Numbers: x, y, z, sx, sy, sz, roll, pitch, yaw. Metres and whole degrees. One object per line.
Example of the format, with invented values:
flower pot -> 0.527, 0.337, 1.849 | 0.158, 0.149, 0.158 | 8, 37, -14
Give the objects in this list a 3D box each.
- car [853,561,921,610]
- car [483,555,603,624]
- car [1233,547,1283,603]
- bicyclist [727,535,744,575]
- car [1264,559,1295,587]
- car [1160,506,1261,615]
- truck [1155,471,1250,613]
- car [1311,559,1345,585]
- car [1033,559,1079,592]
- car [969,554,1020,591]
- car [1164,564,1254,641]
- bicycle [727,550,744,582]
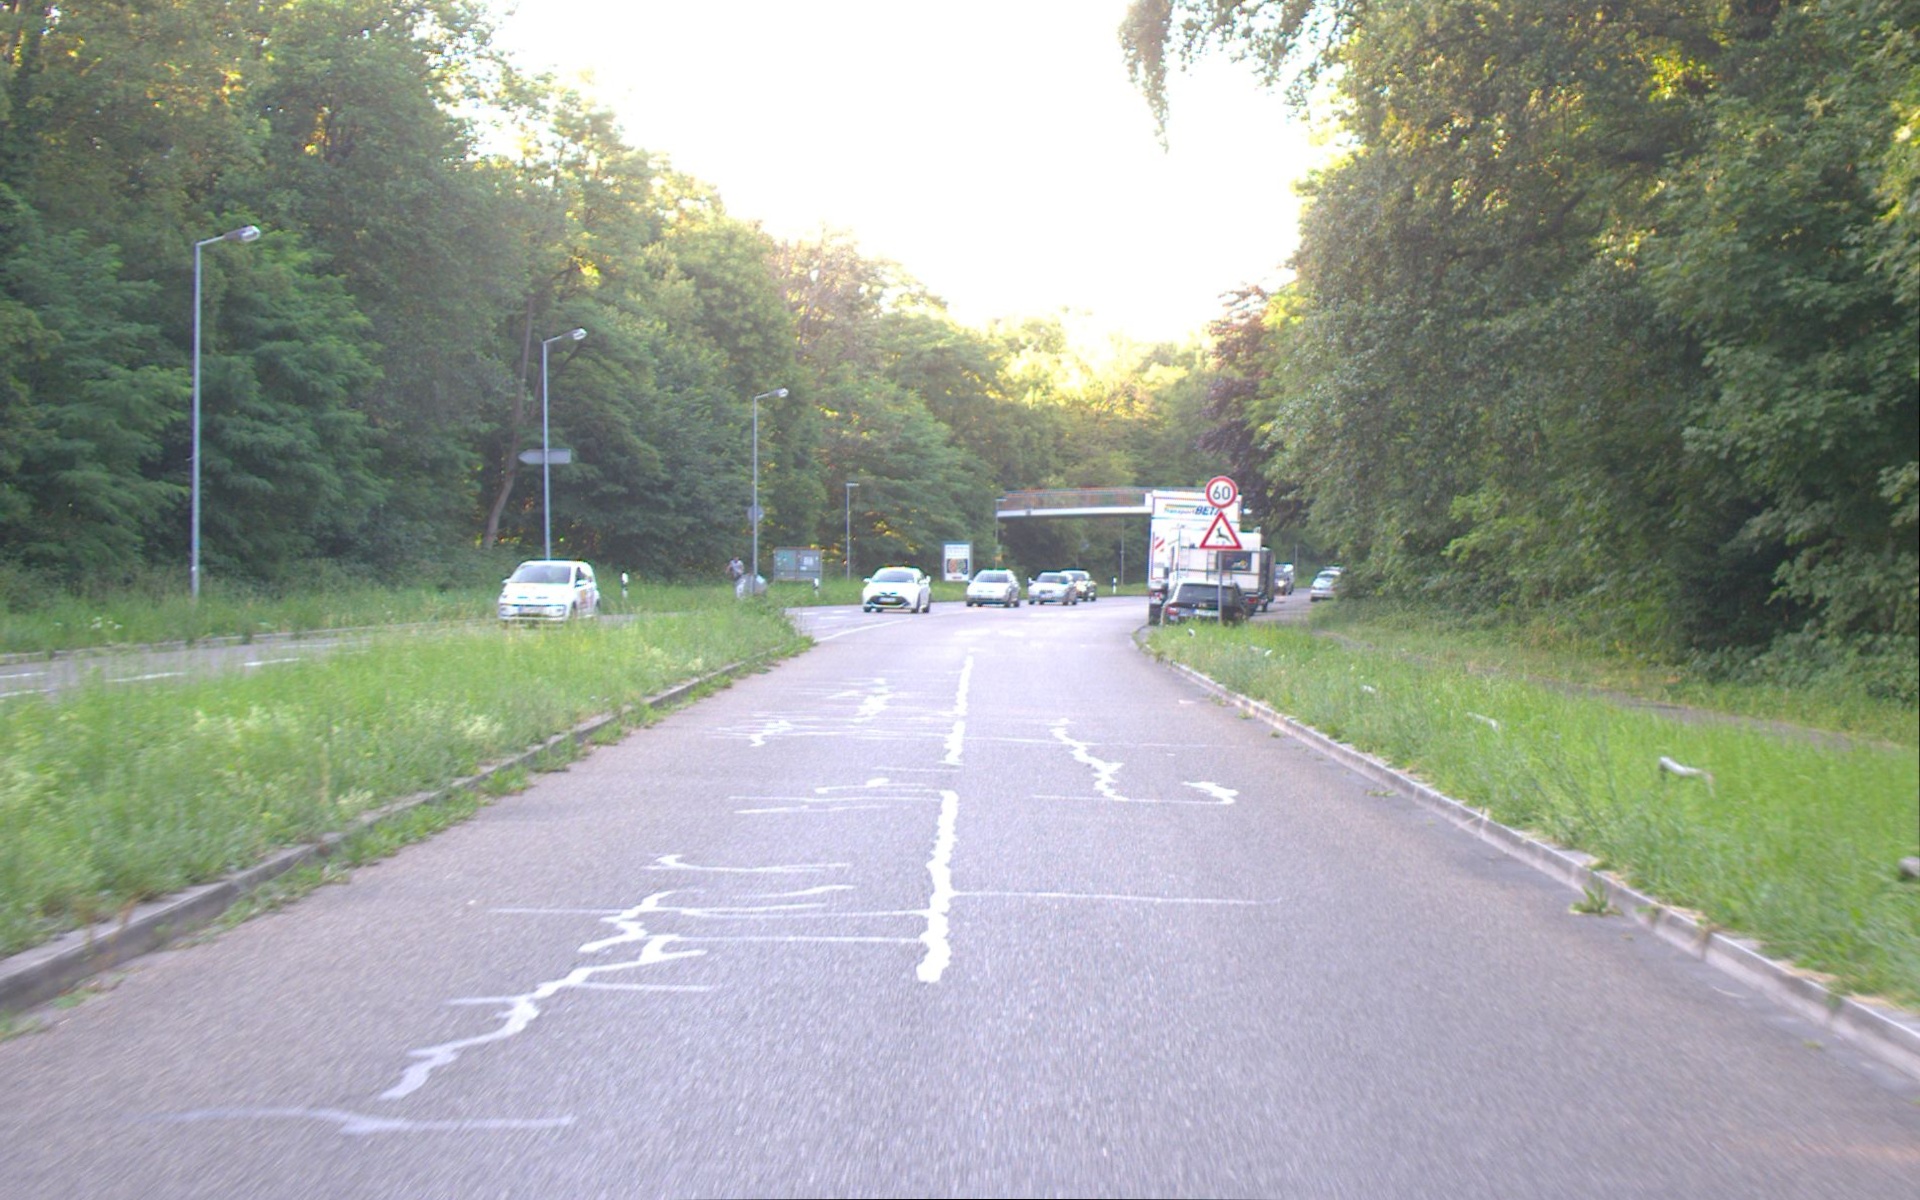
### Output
car -> -2.323, -0.452, 110.890 | 1.836, 1.502, 3.937 | 0, -1, 4
car -> -9.082, -0.212, 75.120 | 1.994, 1.453, 3.810 | 0, -1, 3
car -> 13.455, -1.094, 155.110 | 1.994, 2.401, 5.822 | 0, -1, 7
bicyclist -> -8.574, -1.737, 131.345 | 0.620, 1.506, 0.847 | 0, 2, -3
car -> 21.358, -1.802, 229.855 | 1.994, 1.831, 3.999 | 0, 1, 6
car -> 6.902, -1.091, 95.415 | 2.408, 2.848, 5.932 | 1, 1, 1
truck -> 7.378, -1.736, 103.658 | 2.658, 4.014, 9.720 | 1, 1, 5
car -> 21.224, -1.610, 198.334 | 1.892, 1.442, 4.109 | 0, 1, 7
car -> 4.225, -1.095, 151.253 | 1.720, 1.392, 4.374 | 1, 1, 5
car -> 1.389, -1.115, 136.498 | 1.716, 1.441, 4.173 | 1, 1, 5
car -> 4.974, 0.032, 69.094 | 1.663, 1.400, 3.942 | 3, 1, 3
bicycle -> -8.576, -1.299, 131.371 | 0.630, 1.213, 2.262 | 0, 1, -3
